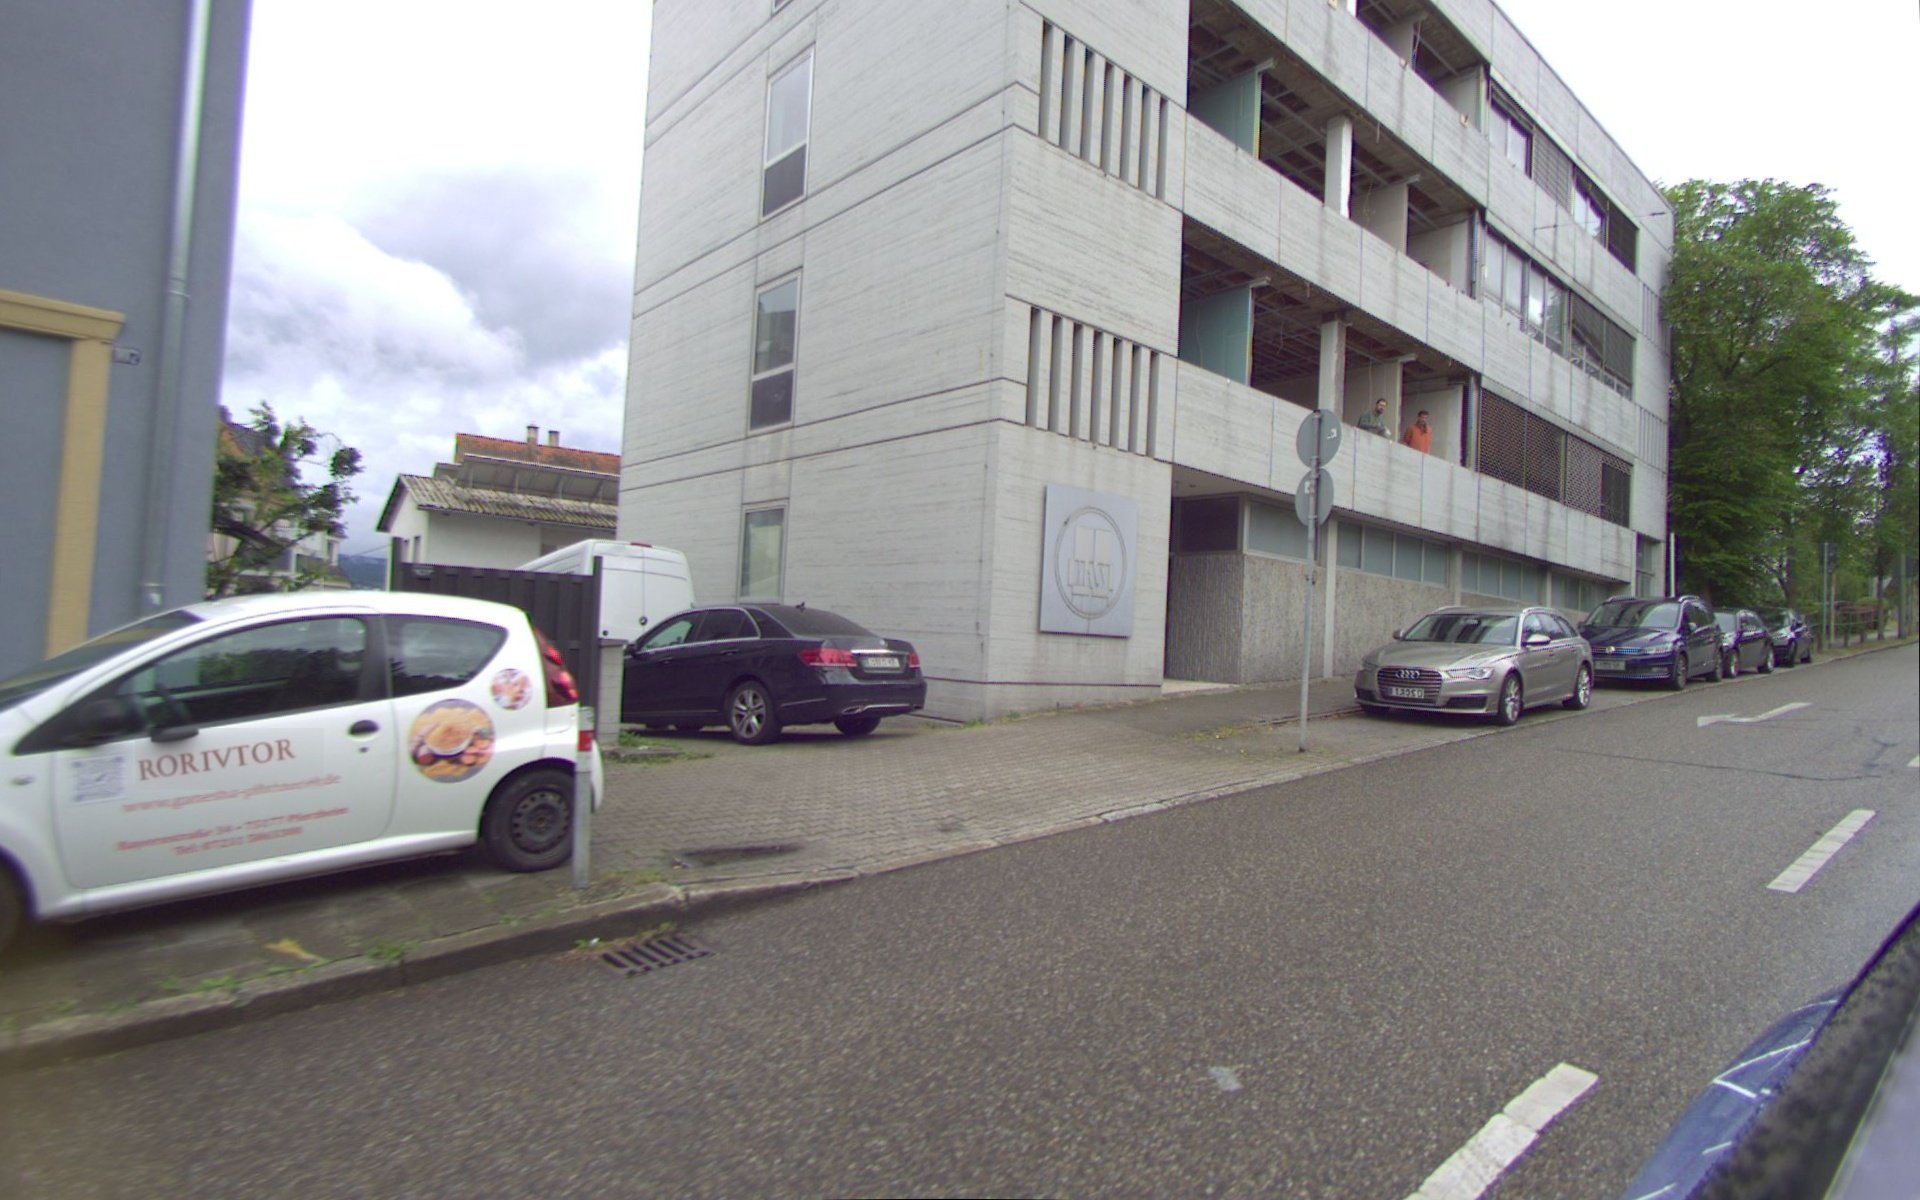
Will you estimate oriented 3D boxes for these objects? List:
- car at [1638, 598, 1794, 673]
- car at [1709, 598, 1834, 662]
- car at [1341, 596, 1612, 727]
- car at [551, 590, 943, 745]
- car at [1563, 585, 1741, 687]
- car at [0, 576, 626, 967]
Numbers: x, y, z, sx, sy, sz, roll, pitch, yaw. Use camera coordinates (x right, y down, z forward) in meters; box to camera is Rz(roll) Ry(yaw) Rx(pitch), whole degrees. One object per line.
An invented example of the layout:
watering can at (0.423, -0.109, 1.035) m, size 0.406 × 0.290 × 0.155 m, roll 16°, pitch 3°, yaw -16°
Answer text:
car at (16.415, 0.697, 21.914) m, size 4.022 × 1.462 × 1.711 m, roll 0°, pitch 0°, yaw -38°
car at (20.703, 0.691, 25.760) m, size 4.084 × 1.462 × 1.841 m, roll 0°, pitch 1°, yaw -42°
car at (7.161, 0.696, 13.786) m, size 4.662 × 1.478 × 1.816 m, roll 0°, pitch 0°, yaw -43°
car at (-2.471, 0.653, 11.289) m, size 4.337 × 1.425 × 1.787 m, roll -1°, pitch -1°, yaw 34°
car at (12.955, 0.579, 18.841) m, size 4.269 × 1.695 × 1.747 m, roll 0°, pitch 0°, yaw -41°
car at (-3.615, 0.639, 4.962) m, size 3.400 × 1.429 × 1.588 m, roll 0°, pitch 3°, yaw -45°
